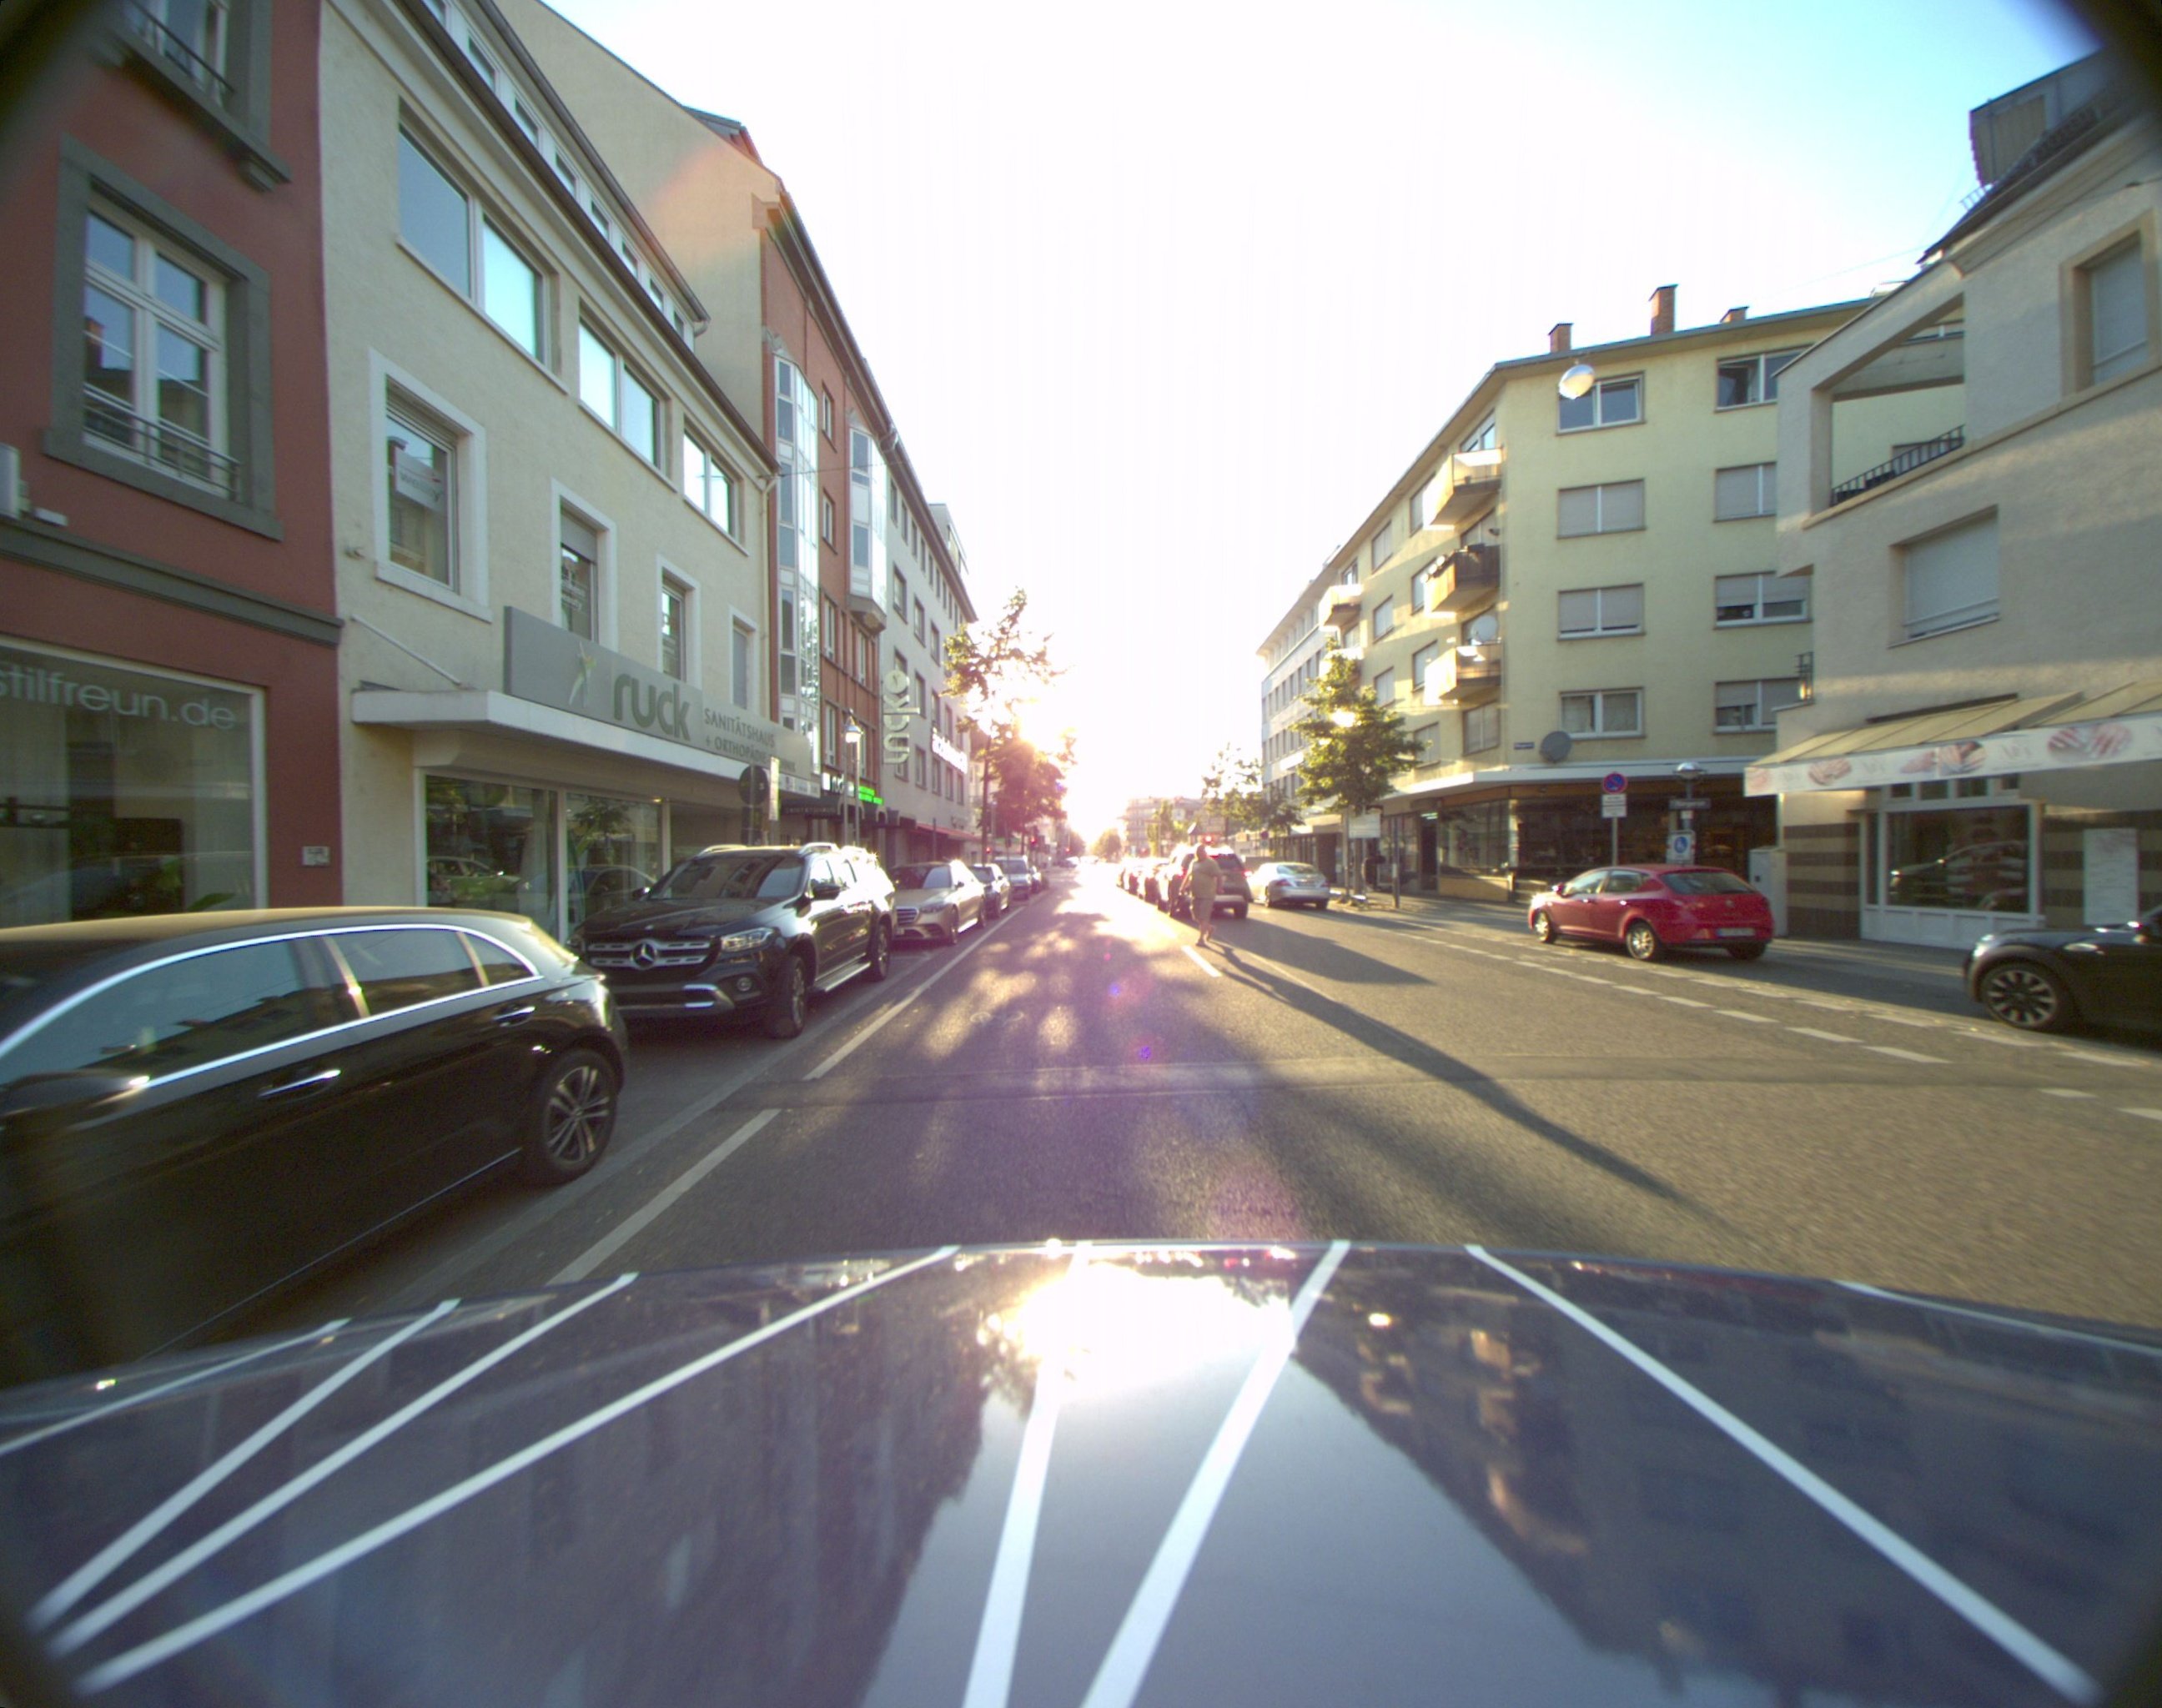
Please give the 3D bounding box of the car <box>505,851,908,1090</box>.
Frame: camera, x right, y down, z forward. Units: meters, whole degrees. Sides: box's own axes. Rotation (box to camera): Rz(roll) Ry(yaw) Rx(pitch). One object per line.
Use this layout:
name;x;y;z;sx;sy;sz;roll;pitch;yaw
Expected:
car;-3.452;0.891;8.379;1.888;1.744;5.058;-2;1;0

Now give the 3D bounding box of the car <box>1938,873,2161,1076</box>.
car;9.129;0.955;5.474;1.715;1.445;3.724;-2;1;1

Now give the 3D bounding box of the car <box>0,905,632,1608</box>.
car;-3.458;1.073;2.094;1.766;1.475;4.306;-2;1;1

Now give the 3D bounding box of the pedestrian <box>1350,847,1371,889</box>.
pedestrian;12.441;0.638;33.834;0.769;1.836;0.744;-1;-1;10

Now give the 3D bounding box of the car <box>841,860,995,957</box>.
car;-3.075;0.952;15.465;1.816;1.518;4.993;-2;1;2

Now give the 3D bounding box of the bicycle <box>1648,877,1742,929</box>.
bicycle;13.476;1.040;16.750;0.491;0.986;2.016;-2;1;2

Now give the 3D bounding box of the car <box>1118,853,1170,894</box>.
car;2.674;0.789;33.255;1.951;1.635;4.615;0;1;1

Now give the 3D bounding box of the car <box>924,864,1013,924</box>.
car;-2.986;1.023;21.089;1.757;1.412;4.509;-2;0;0

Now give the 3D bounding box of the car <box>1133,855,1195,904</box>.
car;2.802;0.819;26.549;1.728;1.540;4.464;0;1;1

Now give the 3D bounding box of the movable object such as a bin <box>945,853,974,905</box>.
movable object such as a bin;-4.325;0.862;27.045;0.837;1.763;1.205;-2;1;-3

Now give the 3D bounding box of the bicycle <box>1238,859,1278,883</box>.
bicycle;9.561;0.927;41.060;2.014;1.211;0.491;-2;1;1

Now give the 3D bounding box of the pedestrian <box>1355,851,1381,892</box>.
pedestrian;12.060;0.726;31.878;0.768;1.666;0.744;-1;1;43

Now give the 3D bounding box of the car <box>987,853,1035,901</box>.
car;-2.753;0.894;30.647;1.659;1.768;4.011;-2;0;-3

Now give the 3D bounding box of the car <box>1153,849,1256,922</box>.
car;3.009;0.699;19.521;1.945;1.635;4.738;0;1;1

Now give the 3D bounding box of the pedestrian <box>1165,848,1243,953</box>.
pedestrian;2.045;0.752;12.782;0.907;1.666;0.991;1;1;-17

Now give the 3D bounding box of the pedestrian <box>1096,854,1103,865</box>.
pedestrian;2.730;0.812;113.737;0.905;1.666;0.780;-2;1;12

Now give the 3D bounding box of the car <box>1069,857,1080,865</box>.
car;-1.229;1.405;150.874;1.998;1.538;4.509;-2;1;1

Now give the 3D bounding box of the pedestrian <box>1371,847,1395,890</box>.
pedestrian;12.994;0.616;32.729;0.742;1.808;0.813;0;0;3

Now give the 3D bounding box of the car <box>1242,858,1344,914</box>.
car;6.632;0.930;24.349;1.998;1.503;4.509;2;1;0

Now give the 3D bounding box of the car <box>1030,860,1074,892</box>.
car;-1.351;1.014;36.752;1.942;1.368;4.182;-2;0;-1

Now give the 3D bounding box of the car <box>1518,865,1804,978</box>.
car;9.075;0.962;12.363;1.665;1.394;3.883;-2;1;0

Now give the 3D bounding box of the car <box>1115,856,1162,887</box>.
car;2.943;0.889;39.693;1.963;1.538;4.509;0;-1;-2

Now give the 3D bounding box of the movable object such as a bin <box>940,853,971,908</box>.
movable object such as a bin;-4.248;0.873;25.746;0.837;1.763;1.353;-2;1;-3
